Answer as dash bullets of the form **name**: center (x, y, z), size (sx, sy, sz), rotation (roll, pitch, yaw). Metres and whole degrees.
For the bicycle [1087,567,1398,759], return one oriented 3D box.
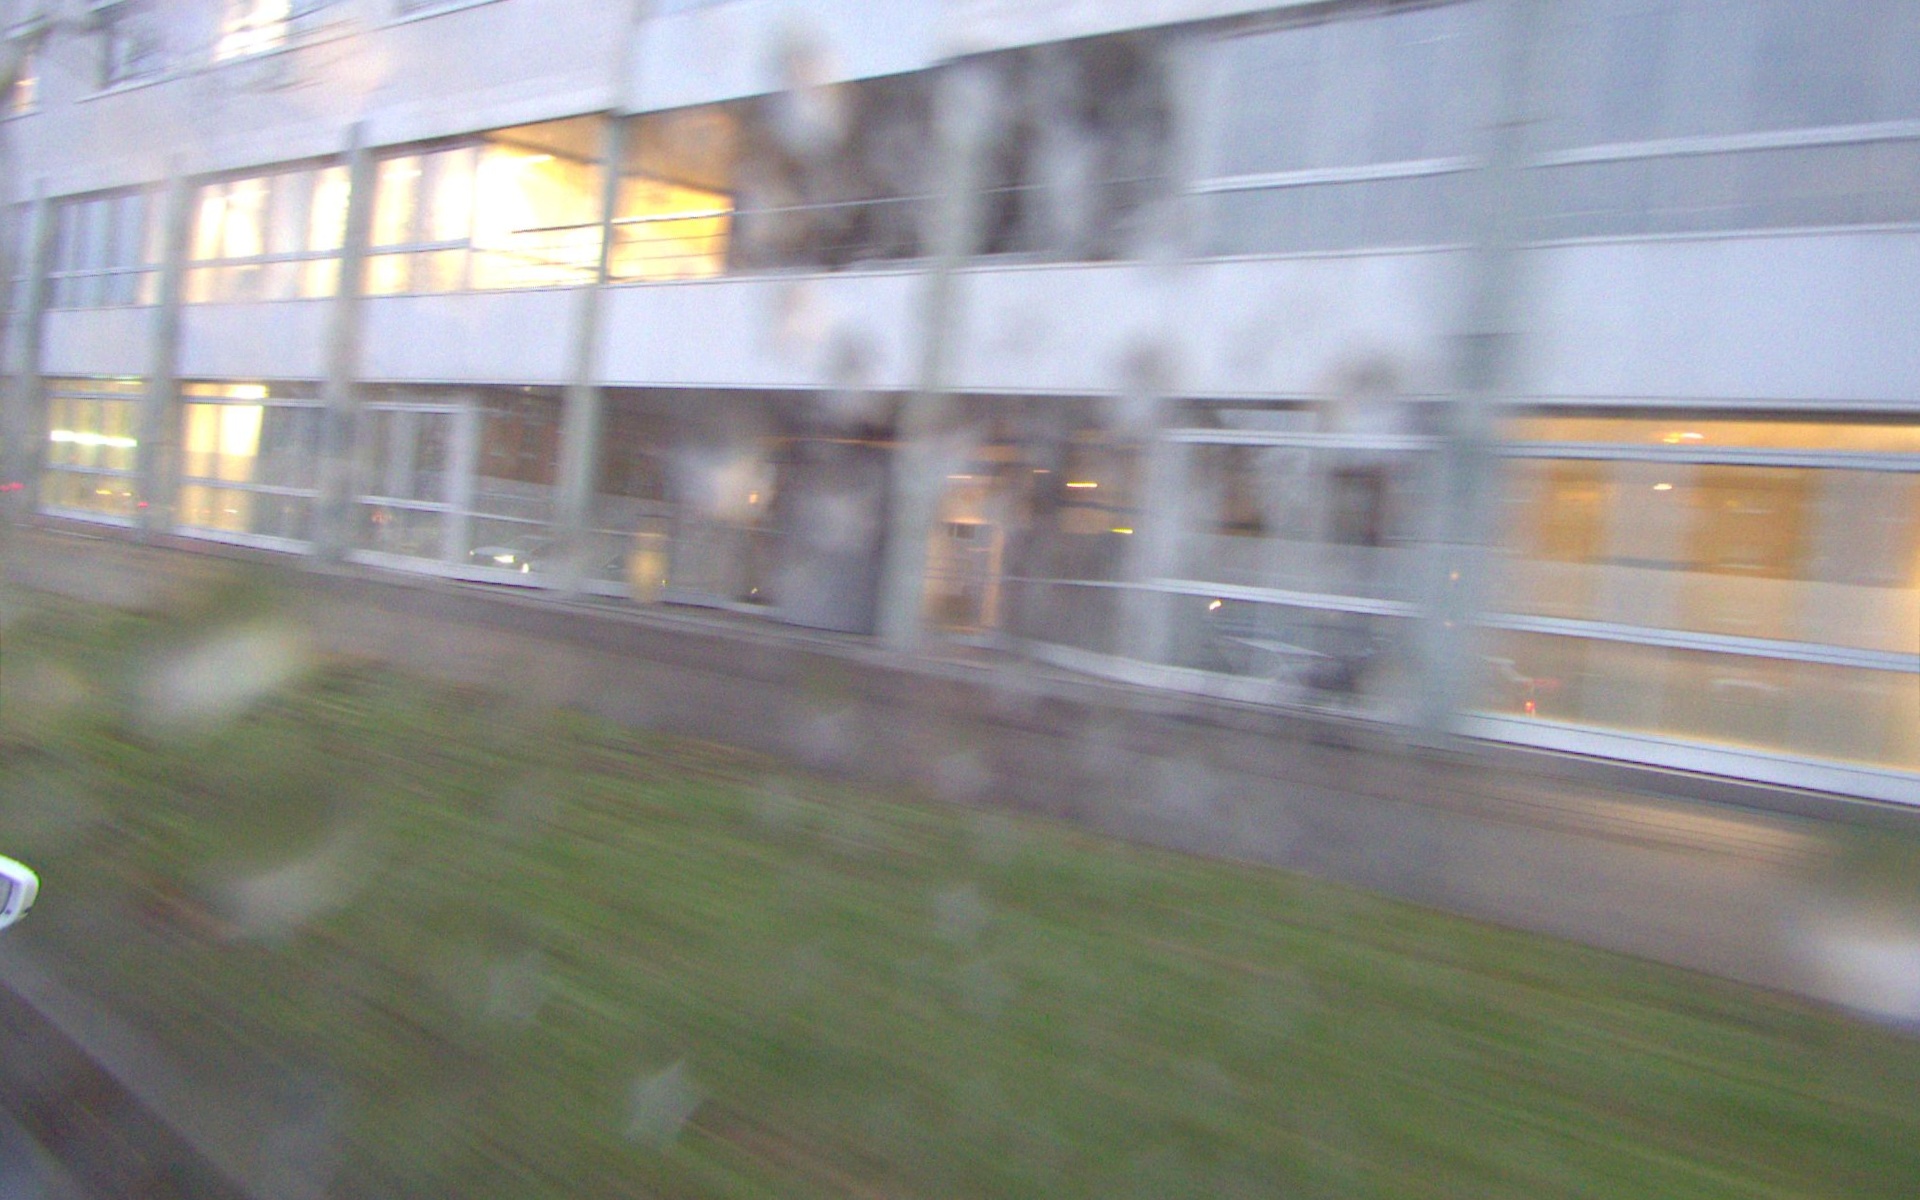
- **bicycle**: center (2.392, 0.468, 8.827), size (2.424, 1.291, 0.819), rotation (8, 5, 43)
